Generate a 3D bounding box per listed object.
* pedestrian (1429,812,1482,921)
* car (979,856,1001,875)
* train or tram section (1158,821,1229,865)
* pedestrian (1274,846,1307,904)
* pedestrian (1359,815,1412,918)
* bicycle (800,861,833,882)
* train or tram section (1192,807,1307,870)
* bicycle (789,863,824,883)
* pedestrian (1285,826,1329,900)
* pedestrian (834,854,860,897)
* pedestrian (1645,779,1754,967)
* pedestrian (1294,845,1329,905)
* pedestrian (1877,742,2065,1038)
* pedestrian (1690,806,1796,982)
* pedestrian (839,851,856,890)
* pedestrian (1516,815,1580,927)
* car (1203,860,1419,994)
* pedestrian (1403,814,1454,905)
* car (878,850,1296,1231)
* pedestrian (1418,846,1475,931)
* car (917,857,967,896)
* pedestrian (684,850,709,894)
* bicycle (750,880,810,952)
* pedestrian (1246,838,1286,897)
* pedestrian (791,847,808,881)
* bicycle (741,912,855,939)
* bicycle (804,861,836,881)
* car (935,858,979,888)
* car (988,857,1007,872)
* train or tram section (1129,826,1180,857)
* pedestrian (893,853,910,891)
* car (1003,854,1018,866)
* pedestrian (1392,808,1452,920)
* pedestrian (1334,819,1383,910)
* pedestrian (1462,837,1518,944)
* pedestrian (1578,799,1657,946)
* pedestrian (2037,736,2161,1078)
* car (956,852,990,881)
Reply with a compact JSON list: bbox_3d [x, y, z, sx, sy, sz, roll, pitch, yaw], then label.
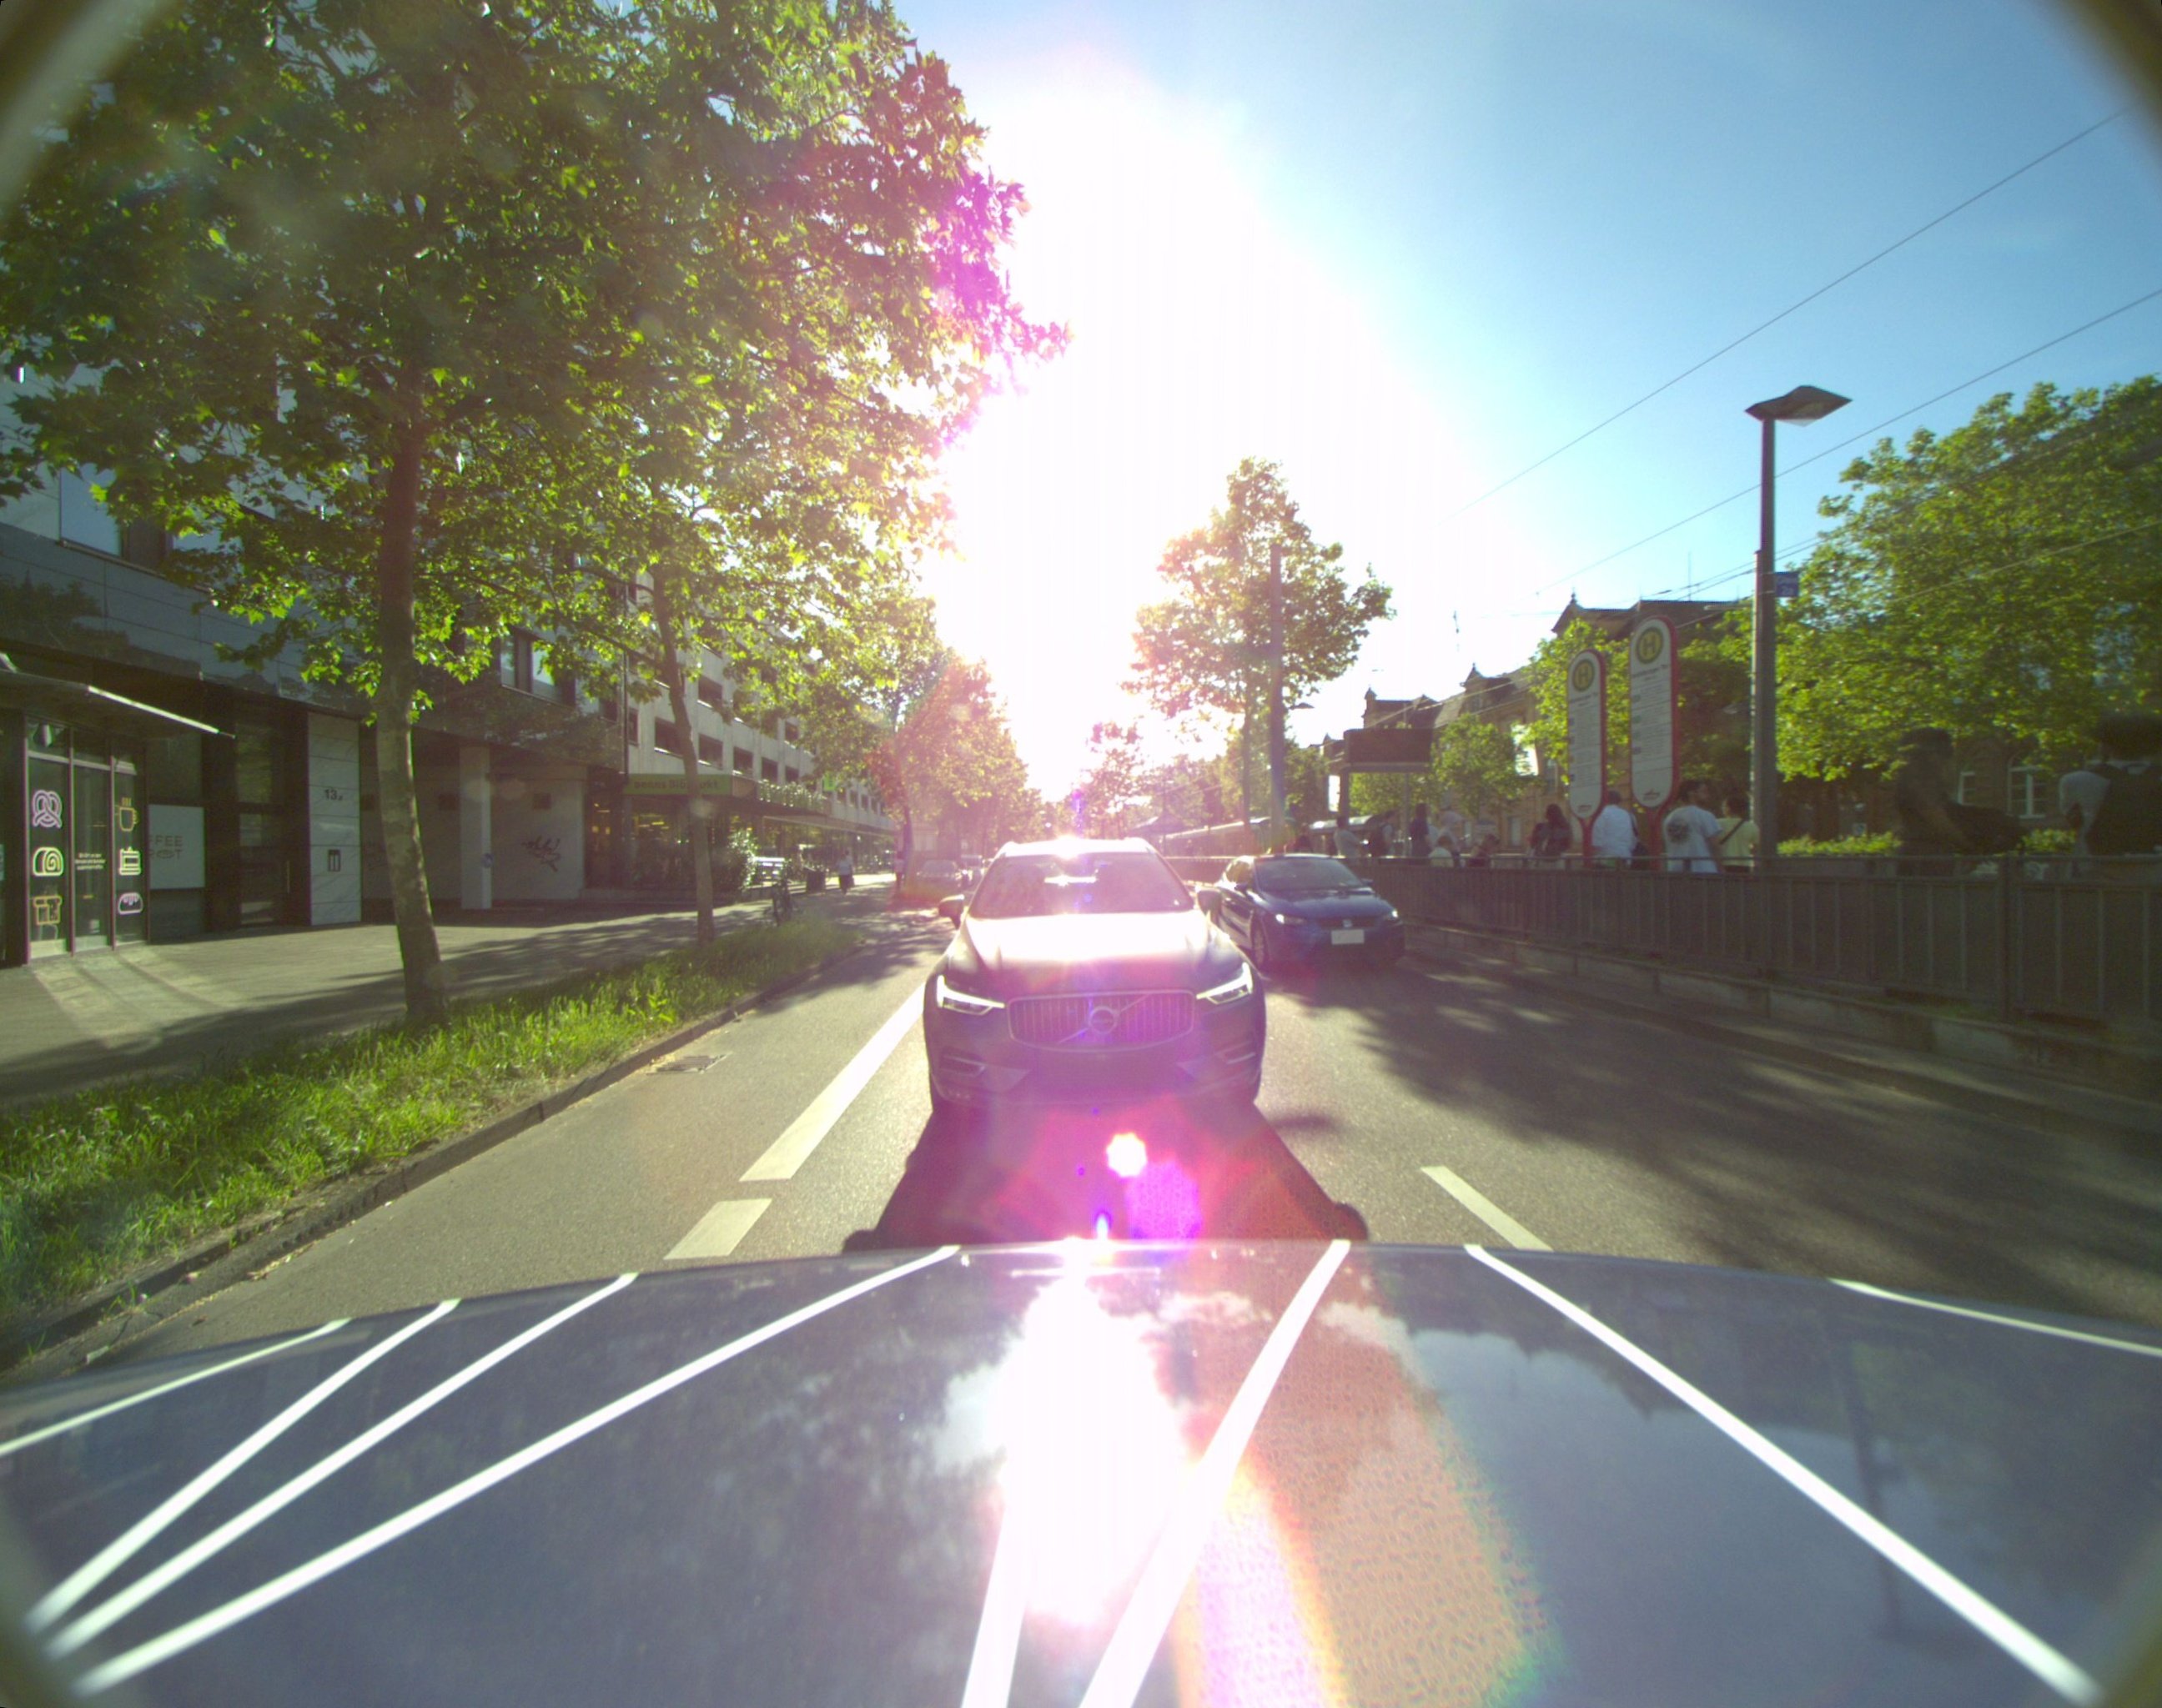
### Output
[{"bbox_3d":[5.959,0.196,12.120,0.516,1.698,0.621,0,1,-3],"label":"pedestrian"},{"bbox_3d":[-7.816,0.962,65.371,1.678,1.430,3.688,2,1,-4],"label":"car"},{"bbox_3d":[9.899,-0.848,69.764,2.879,3.414,18.270,-2,0,-3],"label":"train or tram section"},{"bbox_3d":[4.753,0.462,17.250,0.535,1.292,0.604,0,1,-6],"label":"pedestrian"},{"bbox_3d":[5.133,0.209,12.822,0.662,1.686,0.570,0,1,-2],"label":"pedestrian"},{"bbox_3d":[-14.423,0.948,41.413,1.700,1.049,0.587,1,-1,24],"label":"bicycle"},{"bbox_3d":[10.767,-0.851,51.518,2.857,3.414,18.209,-2,0,-3],"label":"train or tram section"},{"bbox_3d":[-13.462,0.941,37.281,1.648,0.910,0.587,1,-2,24],"label":"bicycle"},{"bbox_3d":[5.434,0.217,18.305,0.778,1.742,0.723,0,1,-6],"label":"pedestrian"},{"bbox_3d":[-8.859,0.816,28.843,0.699,1.603,0.868,1,0,-1],"label":"pedestrian"},{"bbox_3d":[5.810,0.170,7.165,0.507,1.692,0.611,0,1,-7],"label":"pedestrian"},{"bbox_3d":[4.855,0.444,16.021,0.535,1.239,0.604,0,1,-5],"label":"pedestrian"},{"bbox_3d":[5.514,0.210,4.736,0.549,1.724,0.539,0,1,-7],"label":"pedestrian"},{"bbox_3d":[6.883,0.401,7.925,0.555,1.760,0.611,0,1,-7],"label":"pedestrian"},{"bbox_3d":[-10.545,0.718,34.314,0.561,1.734,0.878,0,1,-3],"label":"pedestrian"},{"bbox_3d":[6.458,0.227,10.525,0.546,1.510,0.530,0,1,-3],"label":"pedestrian"},{"bbox_3d":[2.917,0.837,10.529,1.707,1.407,3.875,-2,0,-1],"label":"car"},{"bbox_3d":[6.401,0.093,14.025,0.620,1.640,0.622,0,1,-7],"label":"pedestrian"},{"bbox_3d":[-0.064,0.851,5.678,1.914,1.695,4.272,-2,1,-3],"label":"car"},{"bbox_3d":[5.205,0.483,10.844,0.546,1.185,0.530,0,1,-3],"label":"pedestrian"},{"bbox_3d":[-5.981,0.932,33.010,1.569,1.541,3.999,-1,0,-2],"label":"car"},{"bbox_3d":[-15.241,0.703,30.116,0.559,1.668,0.882,2,1,-3],"label":"pedestrian"},{"bbox_3d":[-5.373,1.072,13.669,0.791,1.126,1.843,0,0,-15],"label":"bicycle"},{"bbox_3d":[4.767,0.348,19.601,0.778,1.501,0.751,0,1,-6],"label":"pedestrian"},{"bbox_3d":[-14.286,0.504,38.580,0.614,1.705,0.611,6,-1,-27],"label":"pedestrian"},{"bbox_3d":[-5.128,1.299,13.909,1.613,0.351,1.388,0,0,-3],"label":"bicycle"},{"bbox_3d":[-14.537,0.946,42.373,1.700,1.049,0.587,2,0,24],"label":"bicycle"},{"bbox_3d":[-6.470,0.966,40.107,1.766,1.409,4.698,-1,0,-4],"label":"car"},{"bbox_3d":[-8.296,1.000,75.718,1.630,1.433,3.929,1,0,-3],"label":"car"},{"bbox_3d":[6.560,-1.068,70.479,2.570,2.517,15.068,-1,0,-3],"label":"train or tram section"},{"bbox_3d":[-8.195,0.805,34.648,0.561,1.694,1.051,0,1,-3],"label":"pedestrian"},{"bbox_3d":[-9.846,0.864,106.589,1.839,1.556,4.272,-2,0,-3],"label":"car"},{"bbox_3d":[5.259,0.157,11.751,0.662,1.686,0.570,0,1,-2],"label":"pedestrian"},{"bbox_3d":[5.064,0.195,13.889,0.662,1.624,0.570,0,1,-2],"label":"pedestrian"},{"bbox_3d":[5.167,0.449,9.621,0.417,1.308,0.507,0,1,-5],"label":"pedestrian"},{"bbox_3d":[6.349,0.214,9.012,0.610,1.692,0.507,0,1,13],"label":"pedestrian"},{"bbox_3d":[5.600,0.266,4.054,0.548,1.724,0.541,0,1,45],"label":"pedestrian"},{"bbox_3d":[-7.019,0.805,49.755,1.769,1.781,4.392,0,0,-3],"label":"car"}]
